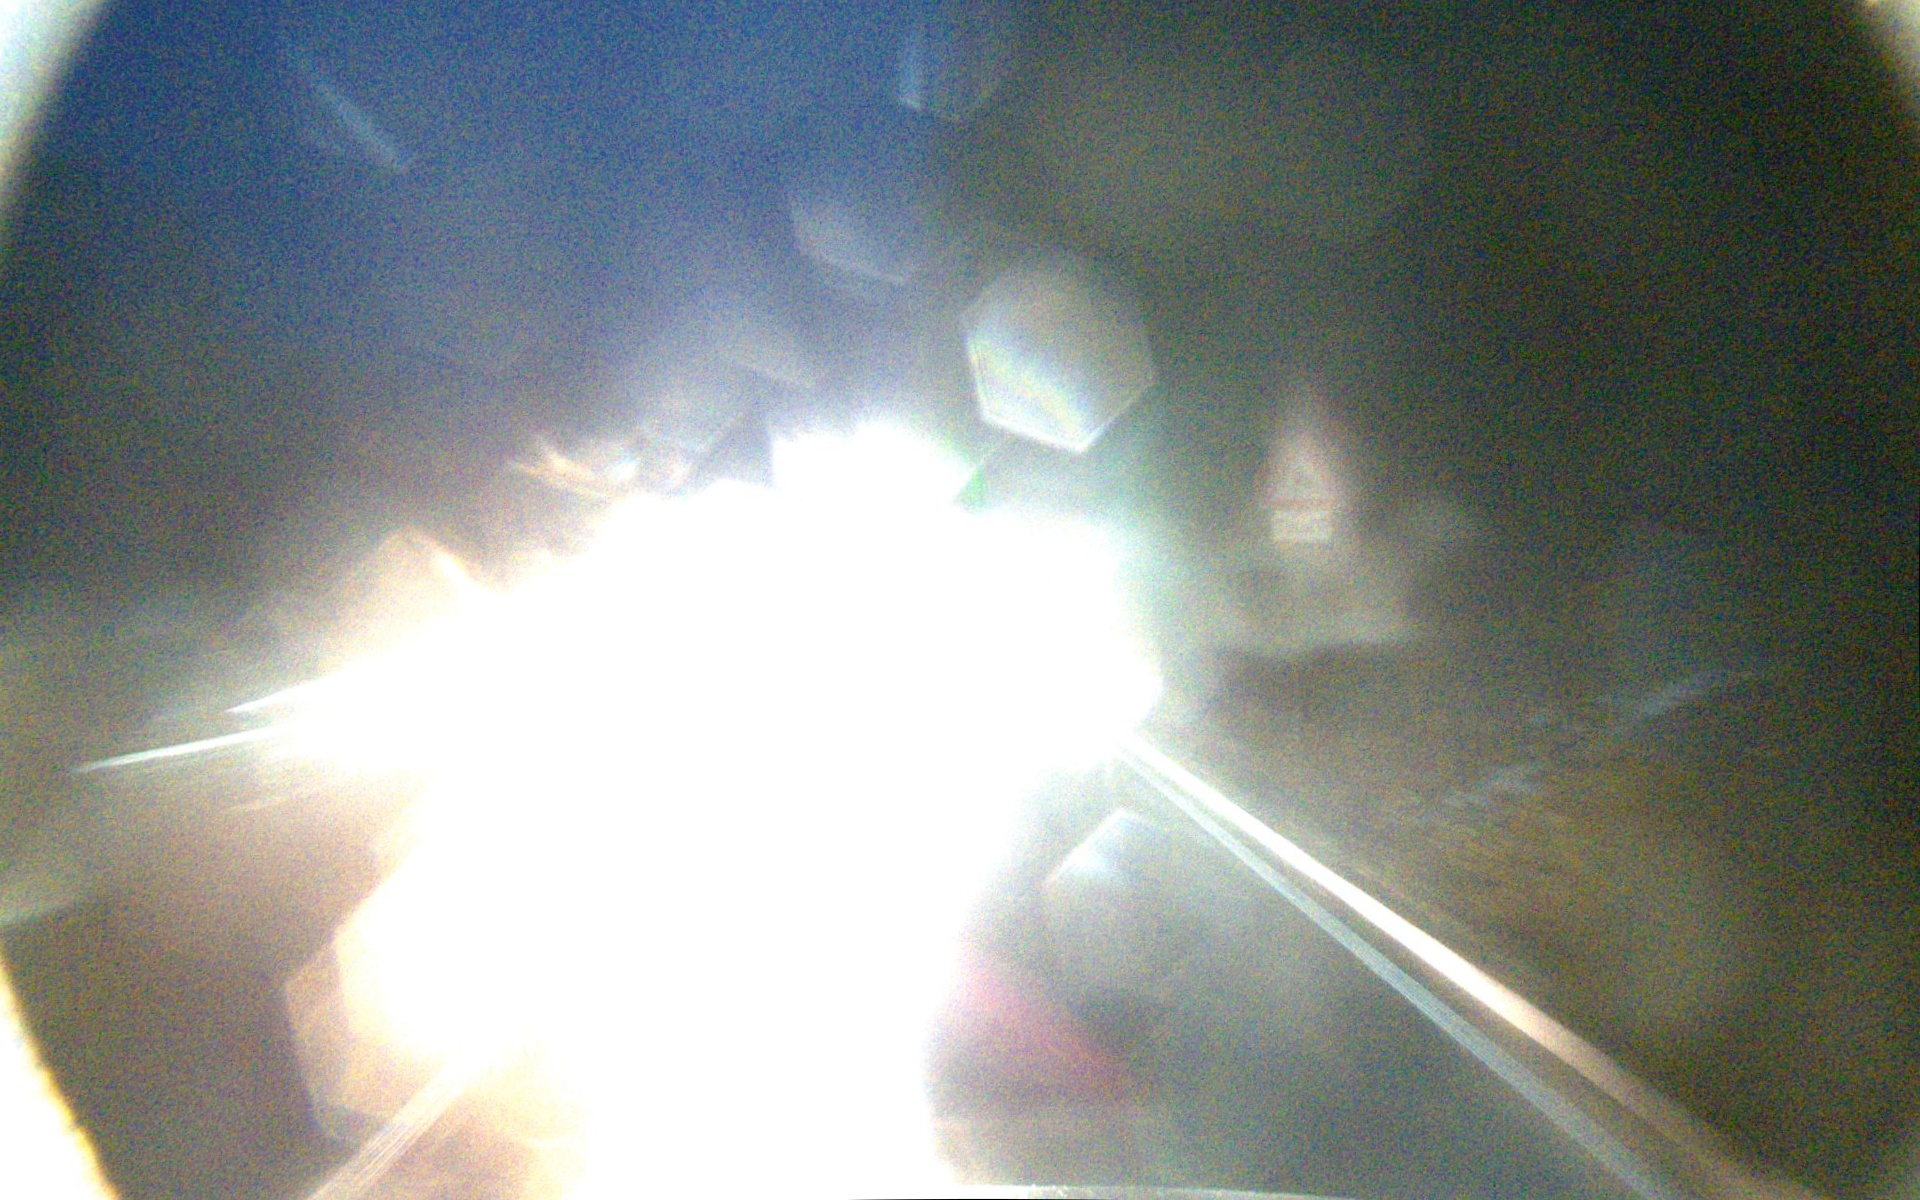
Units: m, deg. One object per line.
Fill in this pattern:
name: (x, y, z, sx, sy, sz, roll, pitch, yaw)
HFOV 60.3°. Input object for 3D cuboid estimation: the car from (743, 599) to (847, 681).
car: (-3.499, 0.820, 35.686, 1.850, 1.614, 4.000, -1, 0, -1)

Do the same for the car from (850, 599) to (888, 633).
car: (-4.268, 0.742, 78.068, 1.666, 1.493, 4.040, -1, 0, -2)

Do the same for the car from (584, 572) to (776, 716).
car: (-3.561, 0.509, 21.746, 1.850, 1.700, 4.000, -1, 0, -1)
